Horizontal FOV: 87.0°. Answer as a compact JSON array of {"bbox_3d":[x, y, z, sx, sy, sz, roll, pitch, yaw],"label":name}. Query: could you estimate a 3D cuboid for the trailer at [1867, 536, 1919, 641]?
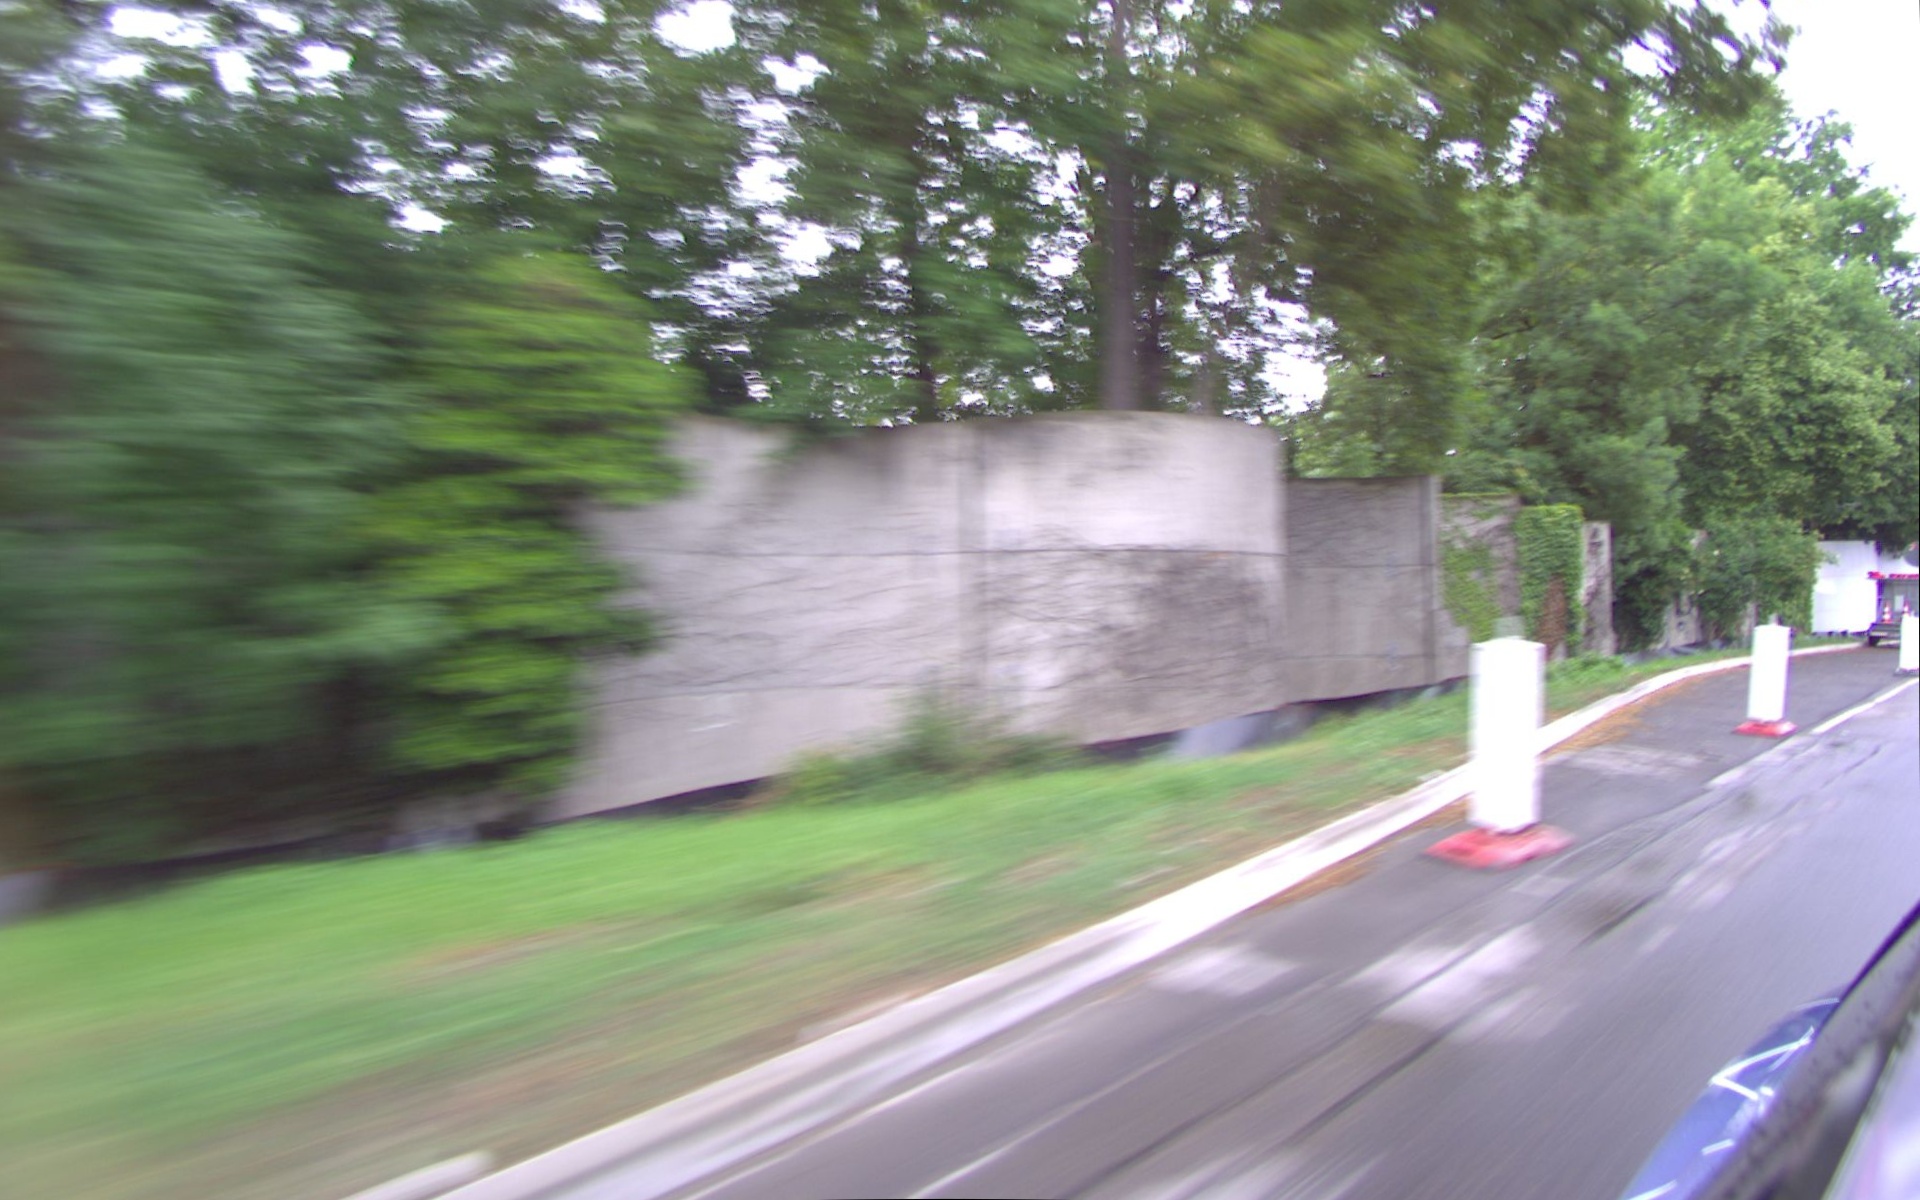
[{"bbox_3d":[35.282,-0.402,36.591,5.845,3.634,2.316,0,1,-34],"label":"trailer"}]
